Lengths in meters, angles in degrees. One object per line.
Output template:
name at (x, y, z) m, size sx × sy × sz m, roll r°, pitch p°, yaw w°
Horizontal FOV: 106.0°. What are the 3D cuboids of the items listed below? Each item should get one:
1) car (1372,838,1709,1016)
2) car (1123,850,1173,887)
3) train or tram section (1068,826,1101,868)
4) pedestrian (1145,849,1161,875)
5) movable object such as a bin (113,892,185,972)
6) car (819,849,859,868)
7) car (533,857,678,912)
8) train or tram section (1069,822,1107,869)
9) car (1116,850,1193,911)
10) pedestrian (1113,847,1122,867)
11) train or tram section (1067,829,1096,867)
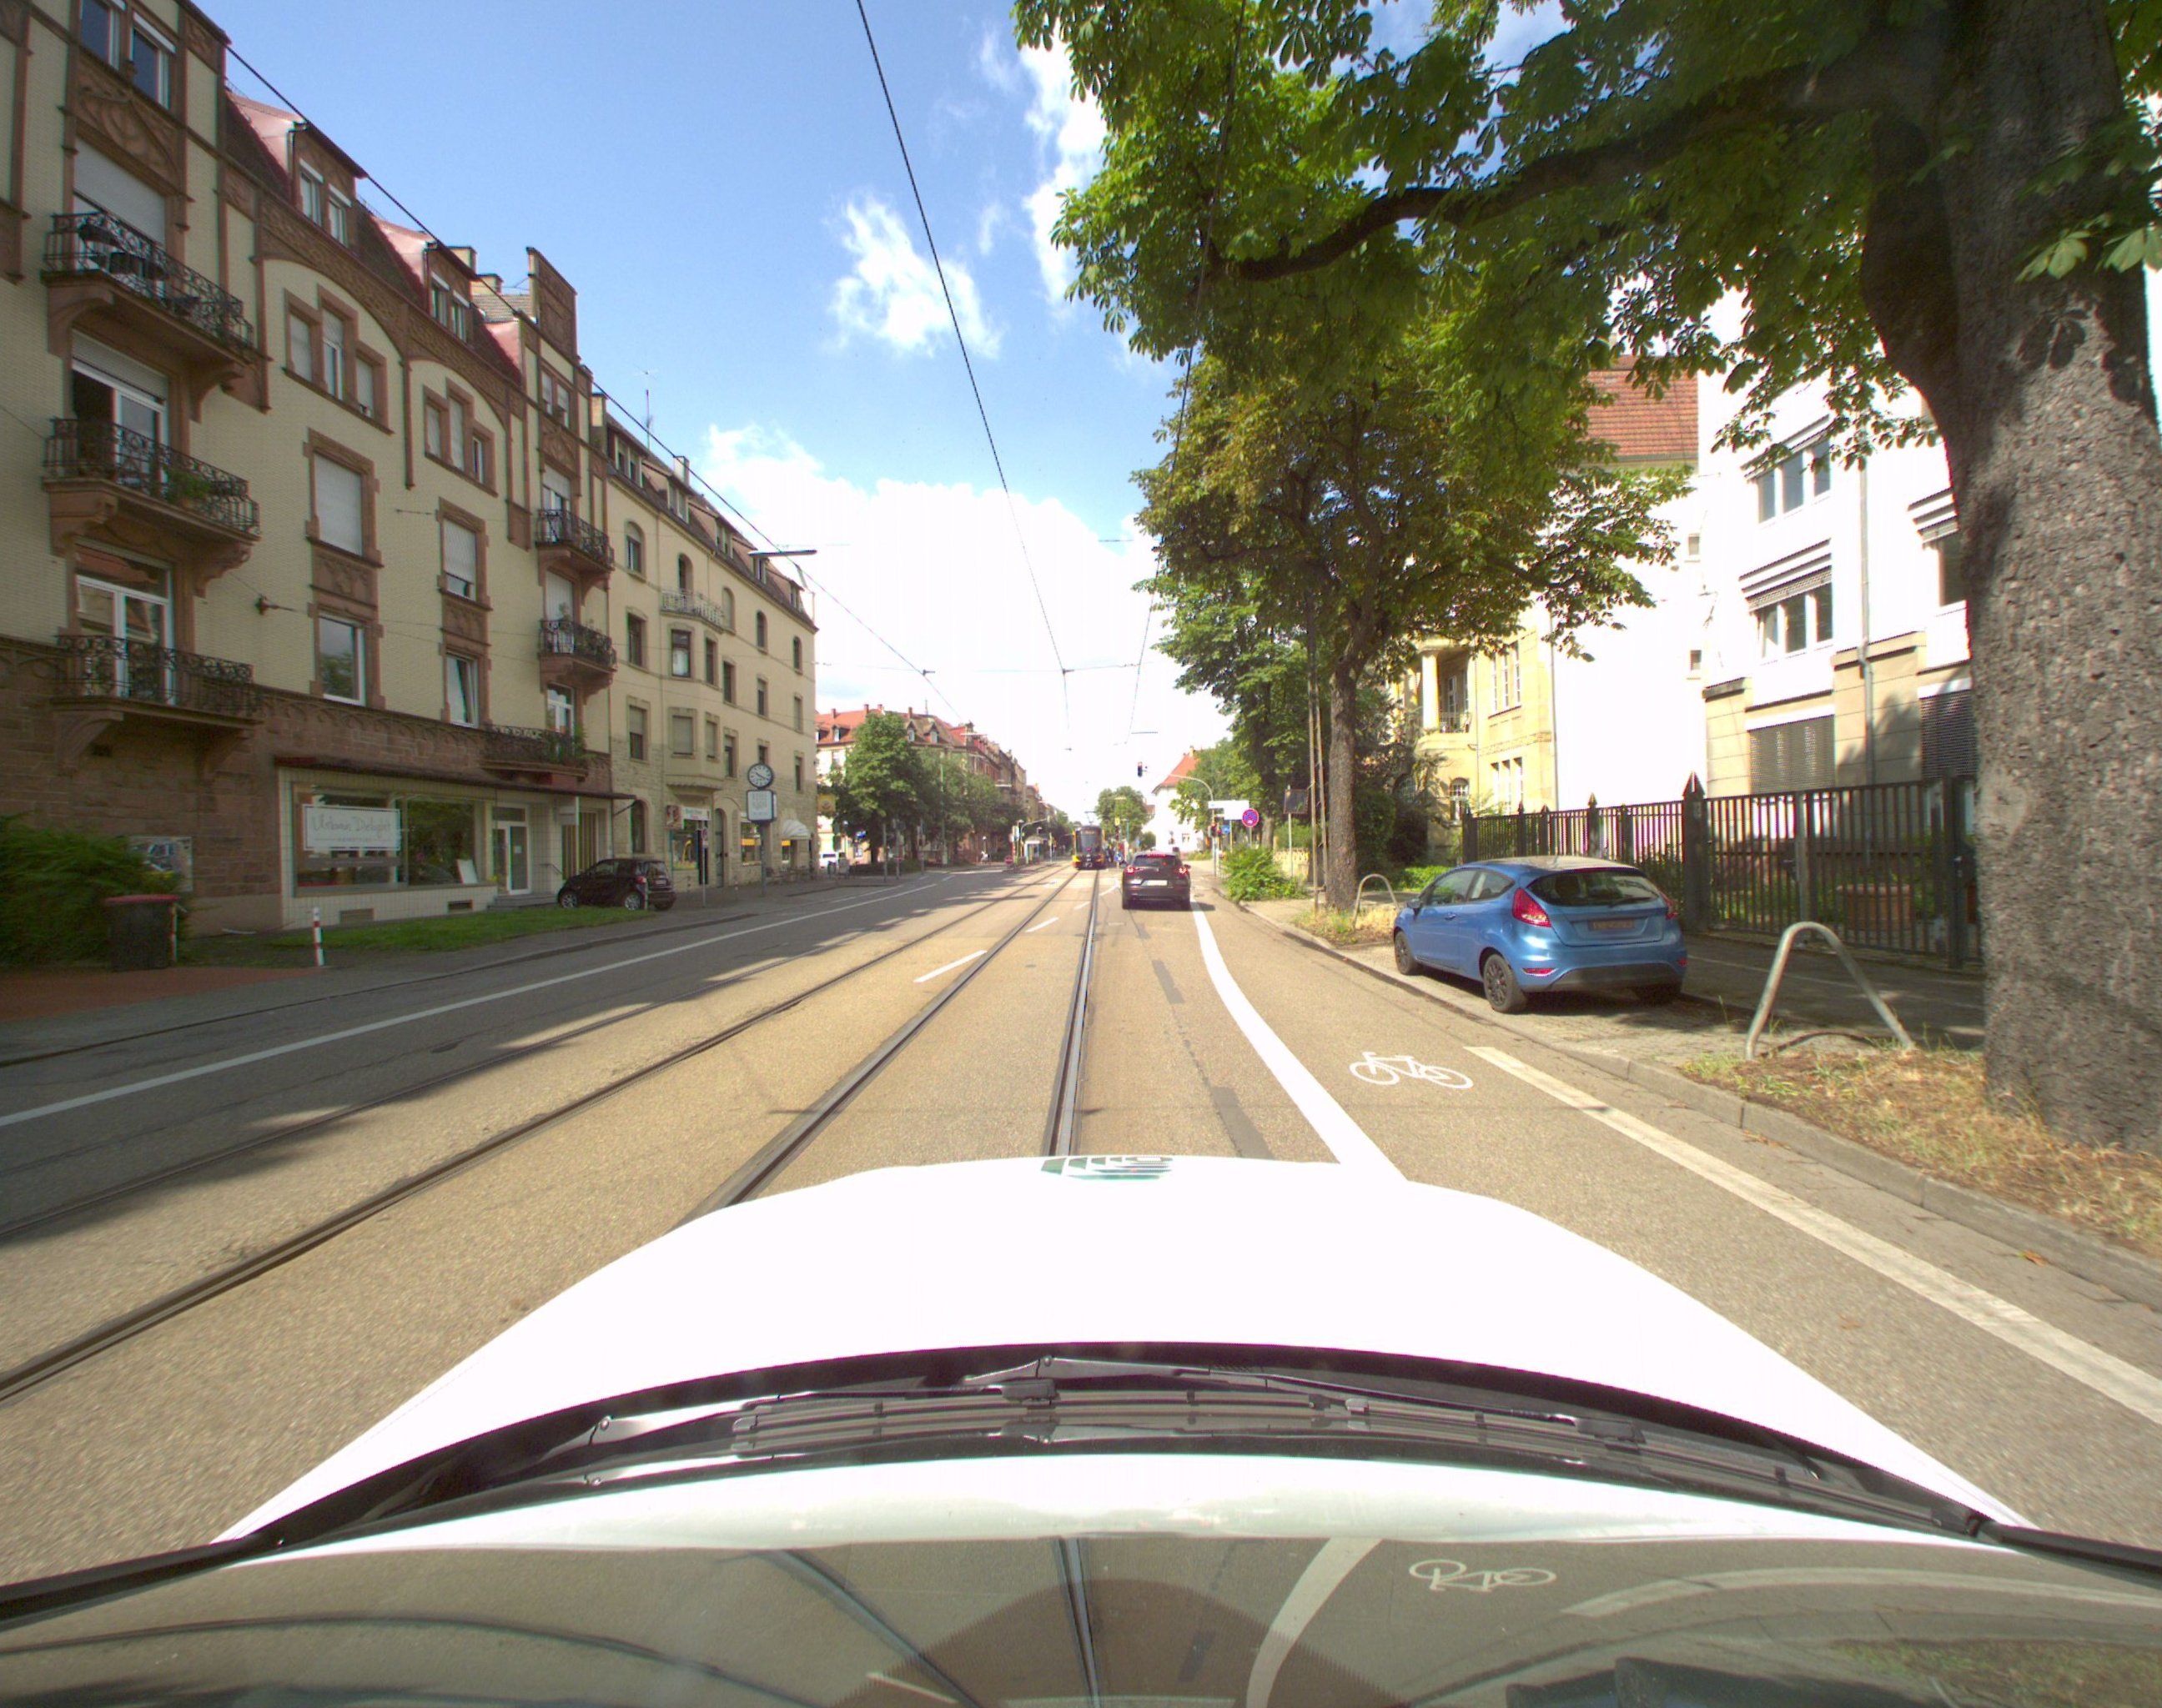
car at (4.779, 0.643, 9.171) m, size 1.618 × 1.496 × 3.848 m, roll -3°, pitch 0°, yaw 1°
car at (2.974, 0.616, 37.142) m, size 1.780 × 1.492 × 4.880 m, roll -2°, pitch 0°, yaw -1°
train or tram section at (0.225, -0.600, 74.672) m, size 2.645 × 3.527 × 8.490 m, roll -2°, pitch 0°, yaw -2°
pedestrian at (4.560, 0.519, 51.423) m, size 0.873 × 1.605 × 0.631 m, roll -1°, pitch 0°, yaw -3°
movable object such as a bin at (-13.537, 1.110, 11.833) m, size 0.589 × 1.069 × 0.611 m, roll 1°, pitch 0°, yaw 35°
car at (-29.795, 0.586, 100.349) m, size 4.094 × 2.013 × 2.006 m, roll -4°, pitch 0°, yaw 10°
car at (-13.757, 0.859, 23.665) m, size 3.222 × 1.513 × 1.681 m, roll 0°, pitch 0°, yaw 4°
train or tram section at (0.478, -0.634, 66.175) m, size 2.645 × 3.527 × 8.490 m, roll -2°, pitch 0°, yaw -2°
car at (1.942, 0.663, 22.731) m, size 1.783 × 1.512 × 4.350 m, roll 0°, pitch 0°, yaw 0°
pedestrian at (3.082, 0.236, 68.359) m, size 0.665 × 1.605 × 0.699 m, roll -1°, pitch 0°, yaw -1°
train or tram section at (-0.027, -0.568, 83.177) m, size 2.645 × 3.527 × 8.490 m, roll -2°, pitch 0°, yaw -2°
